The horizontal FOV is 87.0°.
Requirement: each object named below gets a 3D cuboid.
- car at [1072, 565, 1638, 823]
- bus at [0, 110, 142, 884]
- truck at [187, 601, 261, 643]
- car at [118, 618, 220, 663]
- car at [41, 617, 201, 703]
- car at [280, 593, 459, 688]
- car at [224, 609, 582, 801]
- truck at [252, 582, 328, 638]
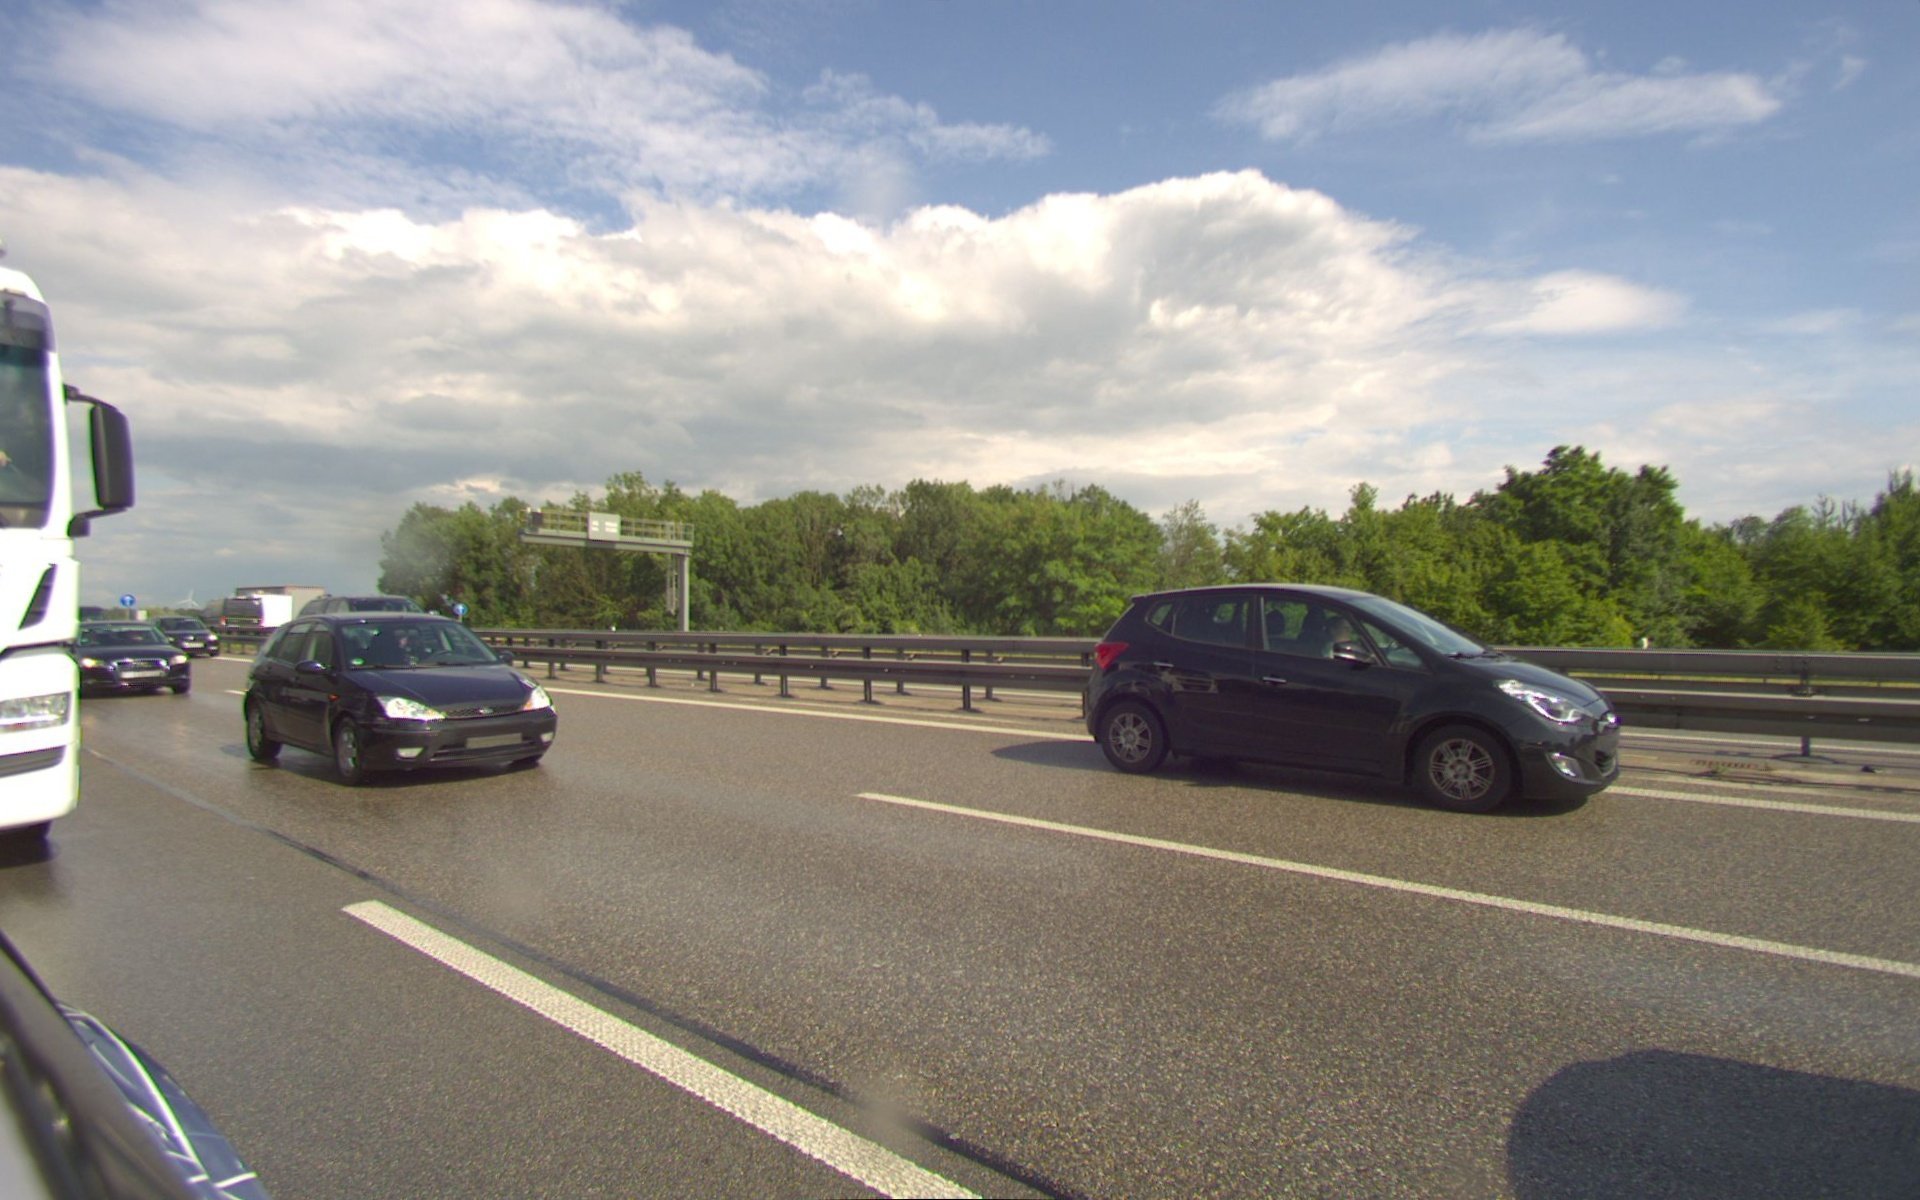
[{"bbox_3d":[3.040,0.608,8.189,3.912,1.590,1.765,-1,-1,39],"label":"car"},{"bbox_3d":[-9.412,-0.473,8.008,9.839,4.159,2.867,-1,0,41],"label":"bus"},{"bbox_3d":[-42.938,1.288,58.941,8.918,2.295,1.897,-1,-1,43],"label":"truck"},{"bbox_3d":[-27.417,1.346,35.043,4.368,1.435,1.901,-1,-1,40],"label":"car"},{"bbox_3d":[-16.062,1.072,19.301,4.052,1.444,1.732,-1,-1,41],"label":"car"},{"bbox_3d":[-13.073,0.830,22.228,5.415,1.858,1.788,-1,-1,41],"label":"car"},{"bbox_3d":[-5.484,0.845,9.757,3.997,1.454,1.741,-1,-1,41],"label":"car"},{"bbox_3d":[-50.093,0.775,75.511,8.918,3.913,2.762,-1,-1,43],"label":"truck"}]
